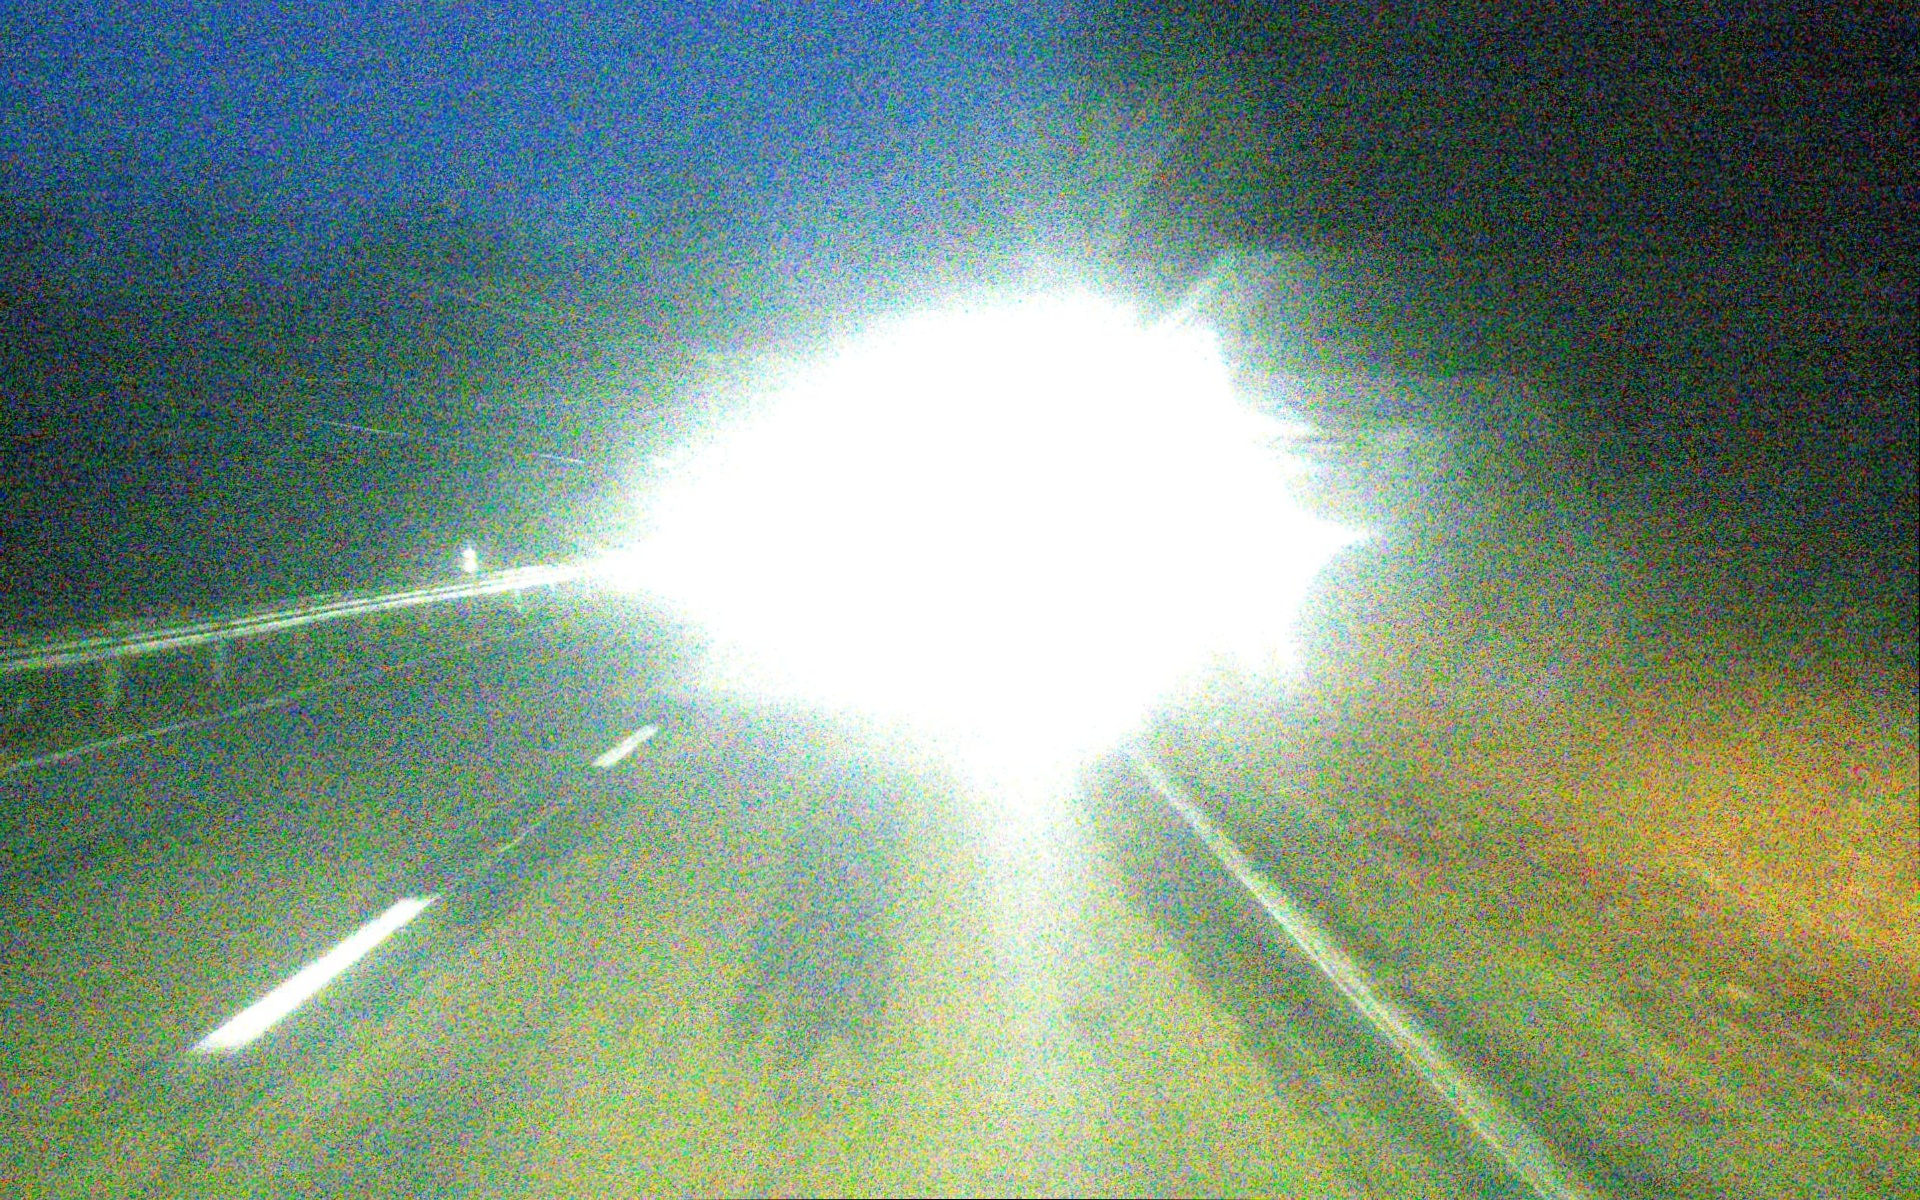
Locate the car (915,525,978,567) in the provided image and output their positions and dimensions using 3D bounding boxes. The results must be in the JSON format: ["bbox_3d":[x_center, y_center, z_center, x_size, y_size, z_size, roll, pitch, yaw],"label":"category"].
[{"bbox_3d":[-0.442,-1.849,117.412,1.993,1.386,3.846,1,1,2],"label":"car"}]
